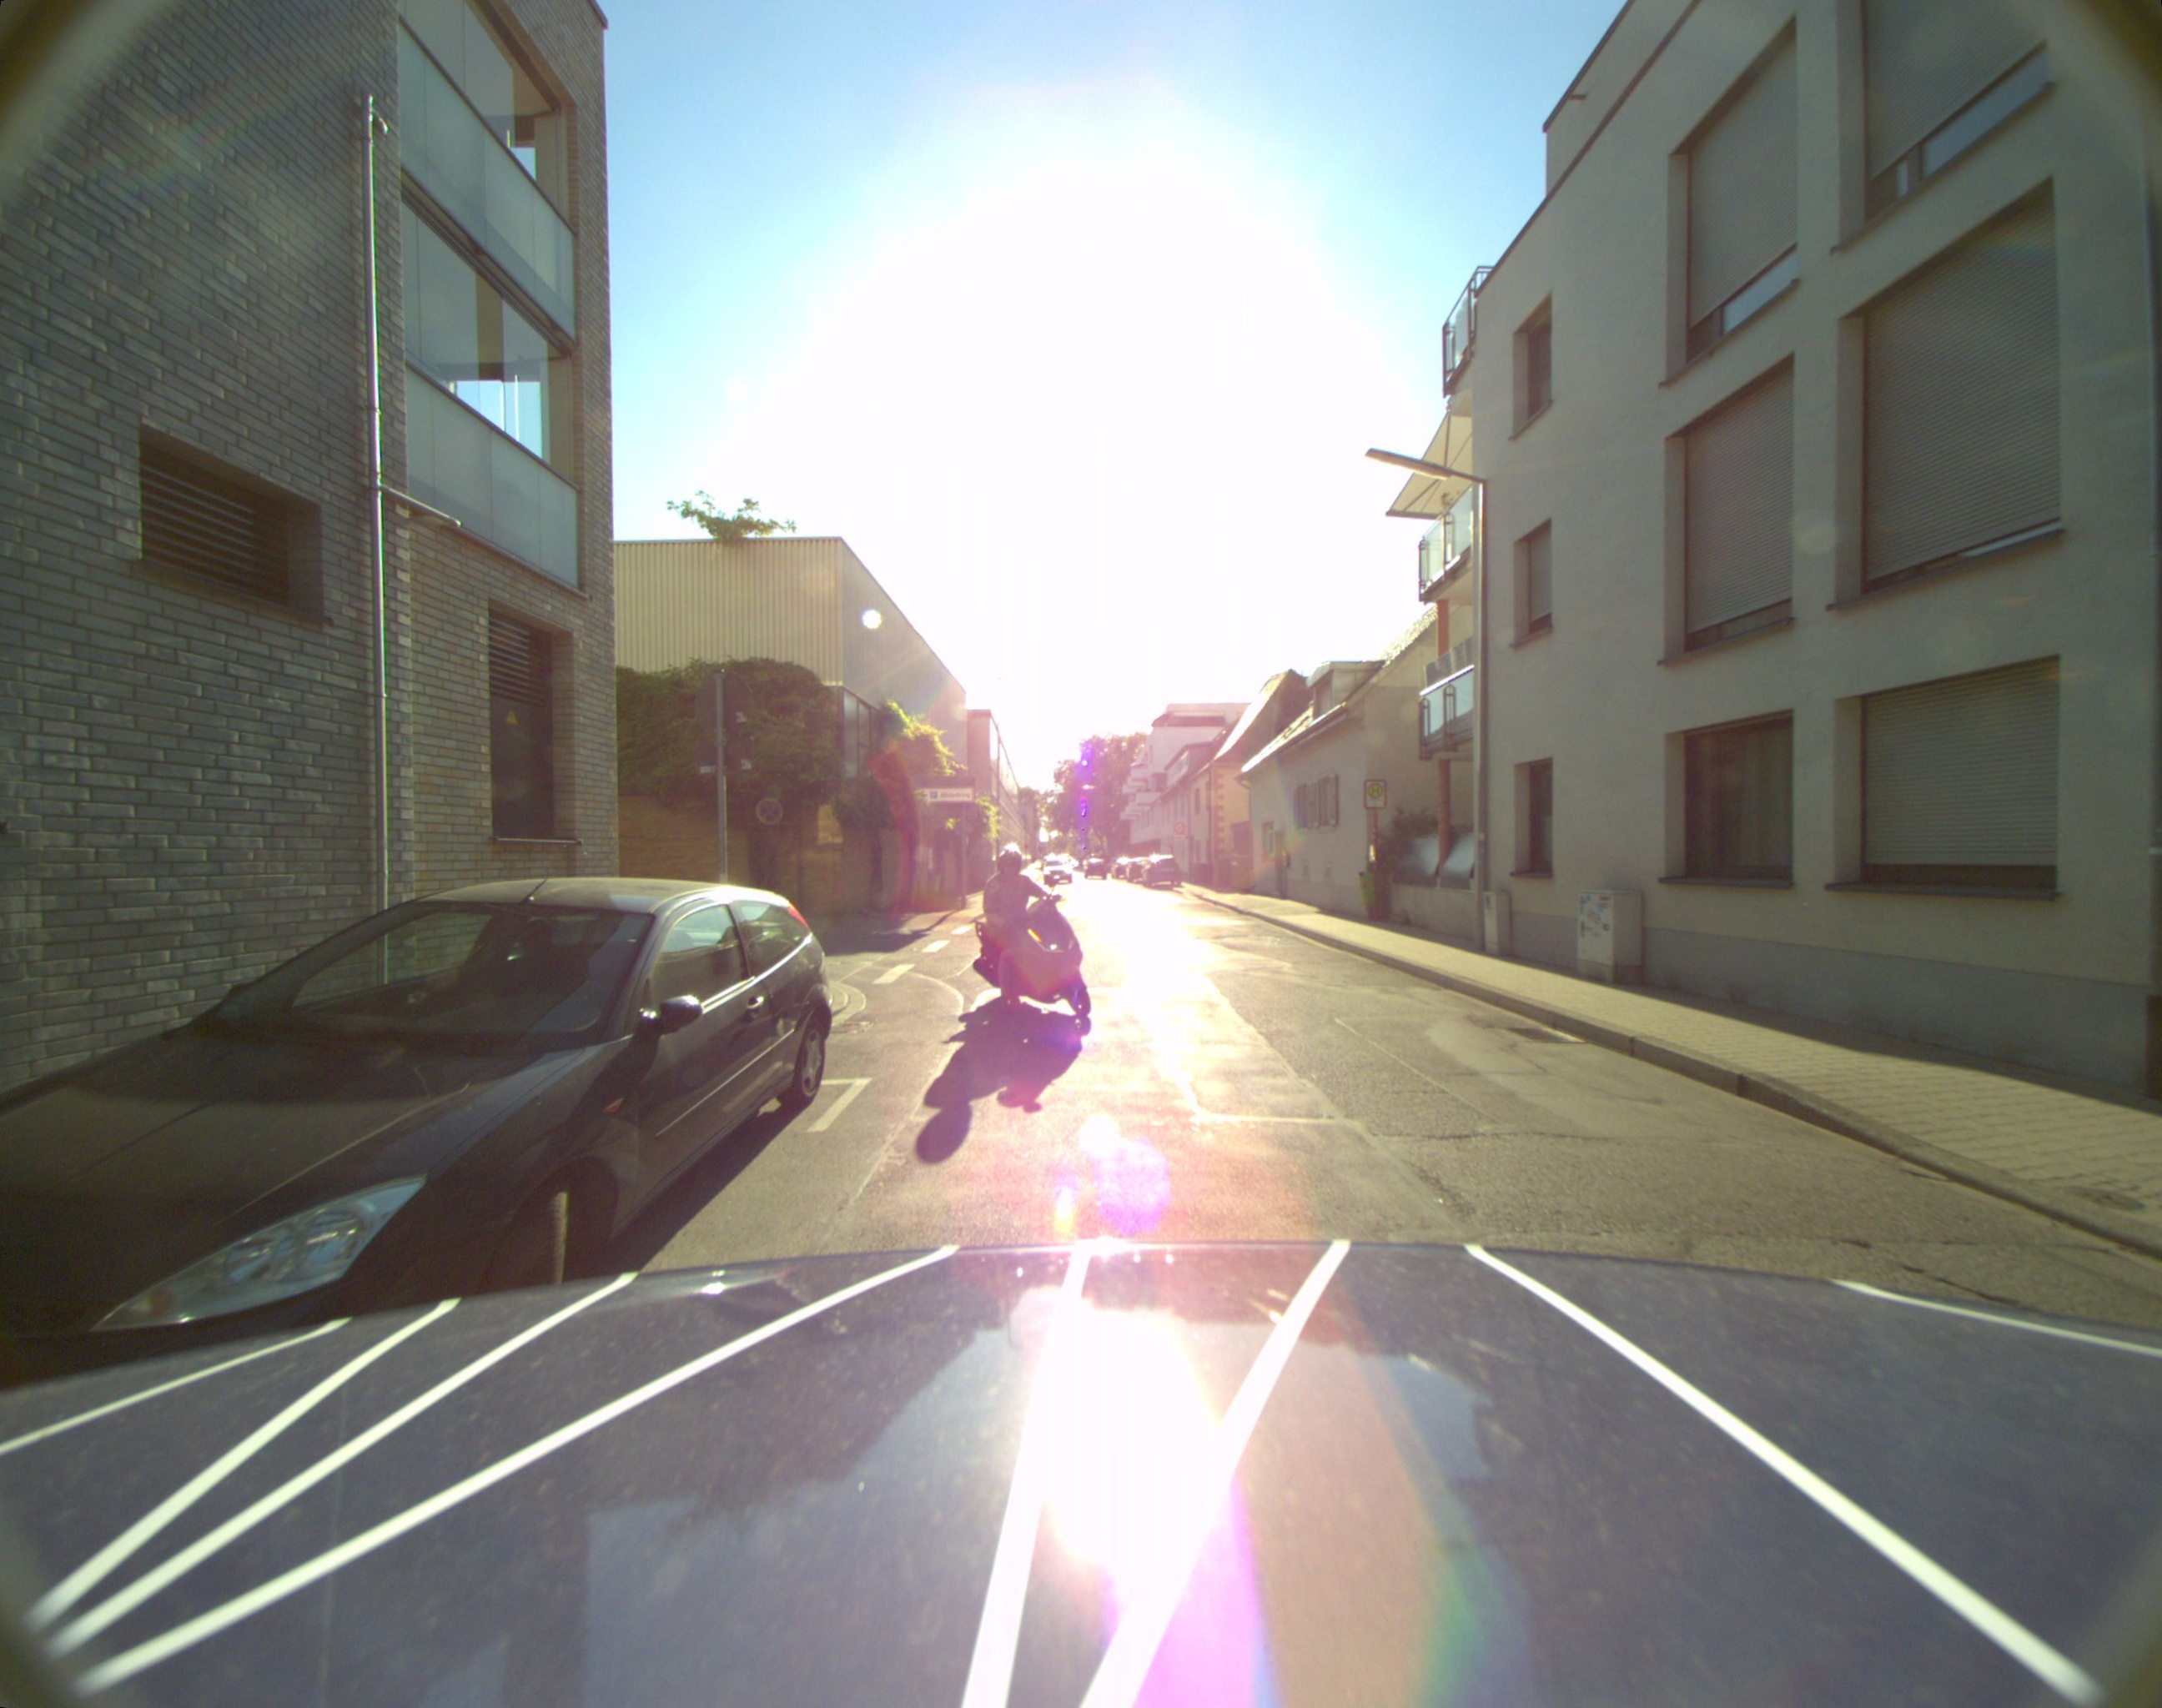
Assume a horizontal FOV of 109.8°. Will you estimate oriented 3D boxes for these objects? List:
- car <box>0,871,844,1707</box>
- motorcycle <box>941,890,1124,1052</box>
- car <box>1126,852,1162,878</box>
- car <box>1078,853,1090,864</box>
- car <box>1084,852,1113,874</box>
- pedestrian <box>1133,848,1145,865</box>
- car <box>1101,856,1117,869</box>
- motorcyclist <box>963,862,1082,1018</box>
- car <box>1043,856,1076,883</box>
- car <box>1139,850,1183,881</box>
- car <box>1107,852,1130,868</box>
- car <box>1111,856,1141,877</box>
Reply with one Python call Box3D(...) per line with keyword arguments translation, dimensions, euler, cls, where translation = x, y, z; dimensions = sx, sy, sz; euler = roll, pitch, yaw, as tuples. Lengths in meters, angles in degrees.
Box3D(translation=(-2.504, 0.956, 3.433), dimensions=(1.634, 1.578, 4.068), euler=(2, 0, -2), cls="car")
Box3D(translation=(-0.589, 1.072, 7.822), dimensions=(0.897, 1.273, 2.336), euler=(-2, 1, -31), cls="motorcycle")
Box3D(translation=(4.102, 0.725, 50.057), dimensions=(1.862, 1.577, 4.335), euler=(-2, -1, -1), cls="car")
Box3D(translation=(0.476, 0.679, 122.418), dimensions=(1.847, 1.482, 4.144), euler=(5, 0, 1), cls="car")
Box3D(translation=(1.296, 0.675, 57.796), dimensions=(1.847, 1.482, 4.142), euler=(2, 1, -4), cls="car")
Box3D(translation=(6.172, 0.254, 81.305), dimensions=(0.862, 1.808, 1.133), euler=(-4, 0, 22), cls="pedestrian")
Box3D(translation=(3.466, 1.039, 94.511), dimensions=(1.679, 1.425, 3.769), euler=(-2, 1, -3), cls="car")
Box3D(translation=(-0.613, 0.828, 7.841), dimensions=(0.897, 1.464, 0.877), euler=(-2, 1, -31), cls="motorcyclist")
Box3D(translation=(-1.439, 0.972, 48.952), dimensions=(1.855, 1.527, 3.855), euler=(-2, 1, -5), cls="car")
Box3D(translation=(4.291, 0.643, 41.386), dimensions=(1.813, 1.577, 4.193), euler=(-2, -1, -2), cls="car")
Box3D(translation=(4.029, 0.621, 82.952), dimensions=(1.863, 1.578, 4.619), euler=(-2, 1, -5), cls="car")
Box3D(translation=(3.509, 0.948, 60.118), dimensions=(1.689, 1.526, 4.332), euler=(-2, 1, -5), cls="car")
